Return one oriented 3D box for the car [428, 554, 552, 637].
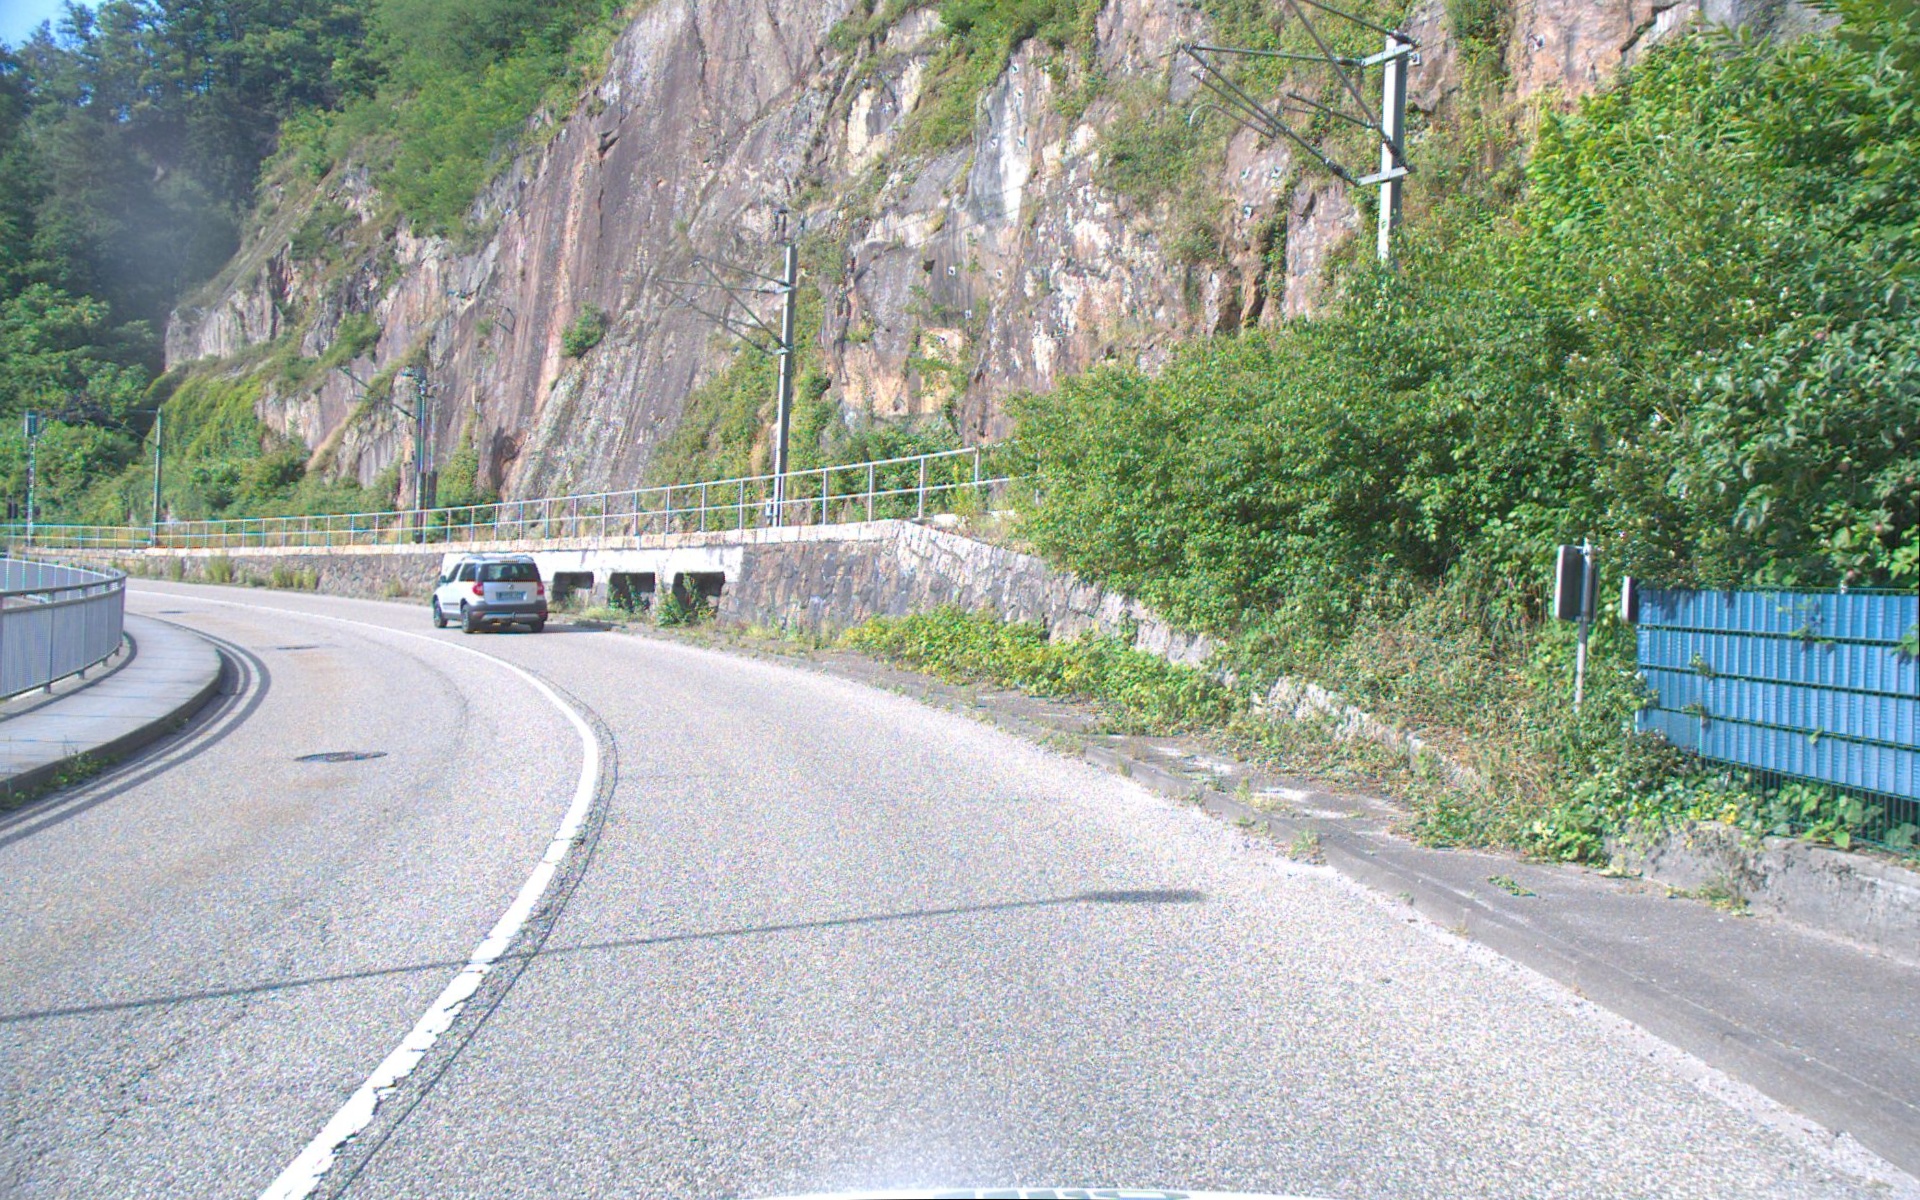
[{"bbox_3d":[-10.667,-0.154,37.380,1.852,1.684,3.962,-1,3,-29],"label":"car"}]
